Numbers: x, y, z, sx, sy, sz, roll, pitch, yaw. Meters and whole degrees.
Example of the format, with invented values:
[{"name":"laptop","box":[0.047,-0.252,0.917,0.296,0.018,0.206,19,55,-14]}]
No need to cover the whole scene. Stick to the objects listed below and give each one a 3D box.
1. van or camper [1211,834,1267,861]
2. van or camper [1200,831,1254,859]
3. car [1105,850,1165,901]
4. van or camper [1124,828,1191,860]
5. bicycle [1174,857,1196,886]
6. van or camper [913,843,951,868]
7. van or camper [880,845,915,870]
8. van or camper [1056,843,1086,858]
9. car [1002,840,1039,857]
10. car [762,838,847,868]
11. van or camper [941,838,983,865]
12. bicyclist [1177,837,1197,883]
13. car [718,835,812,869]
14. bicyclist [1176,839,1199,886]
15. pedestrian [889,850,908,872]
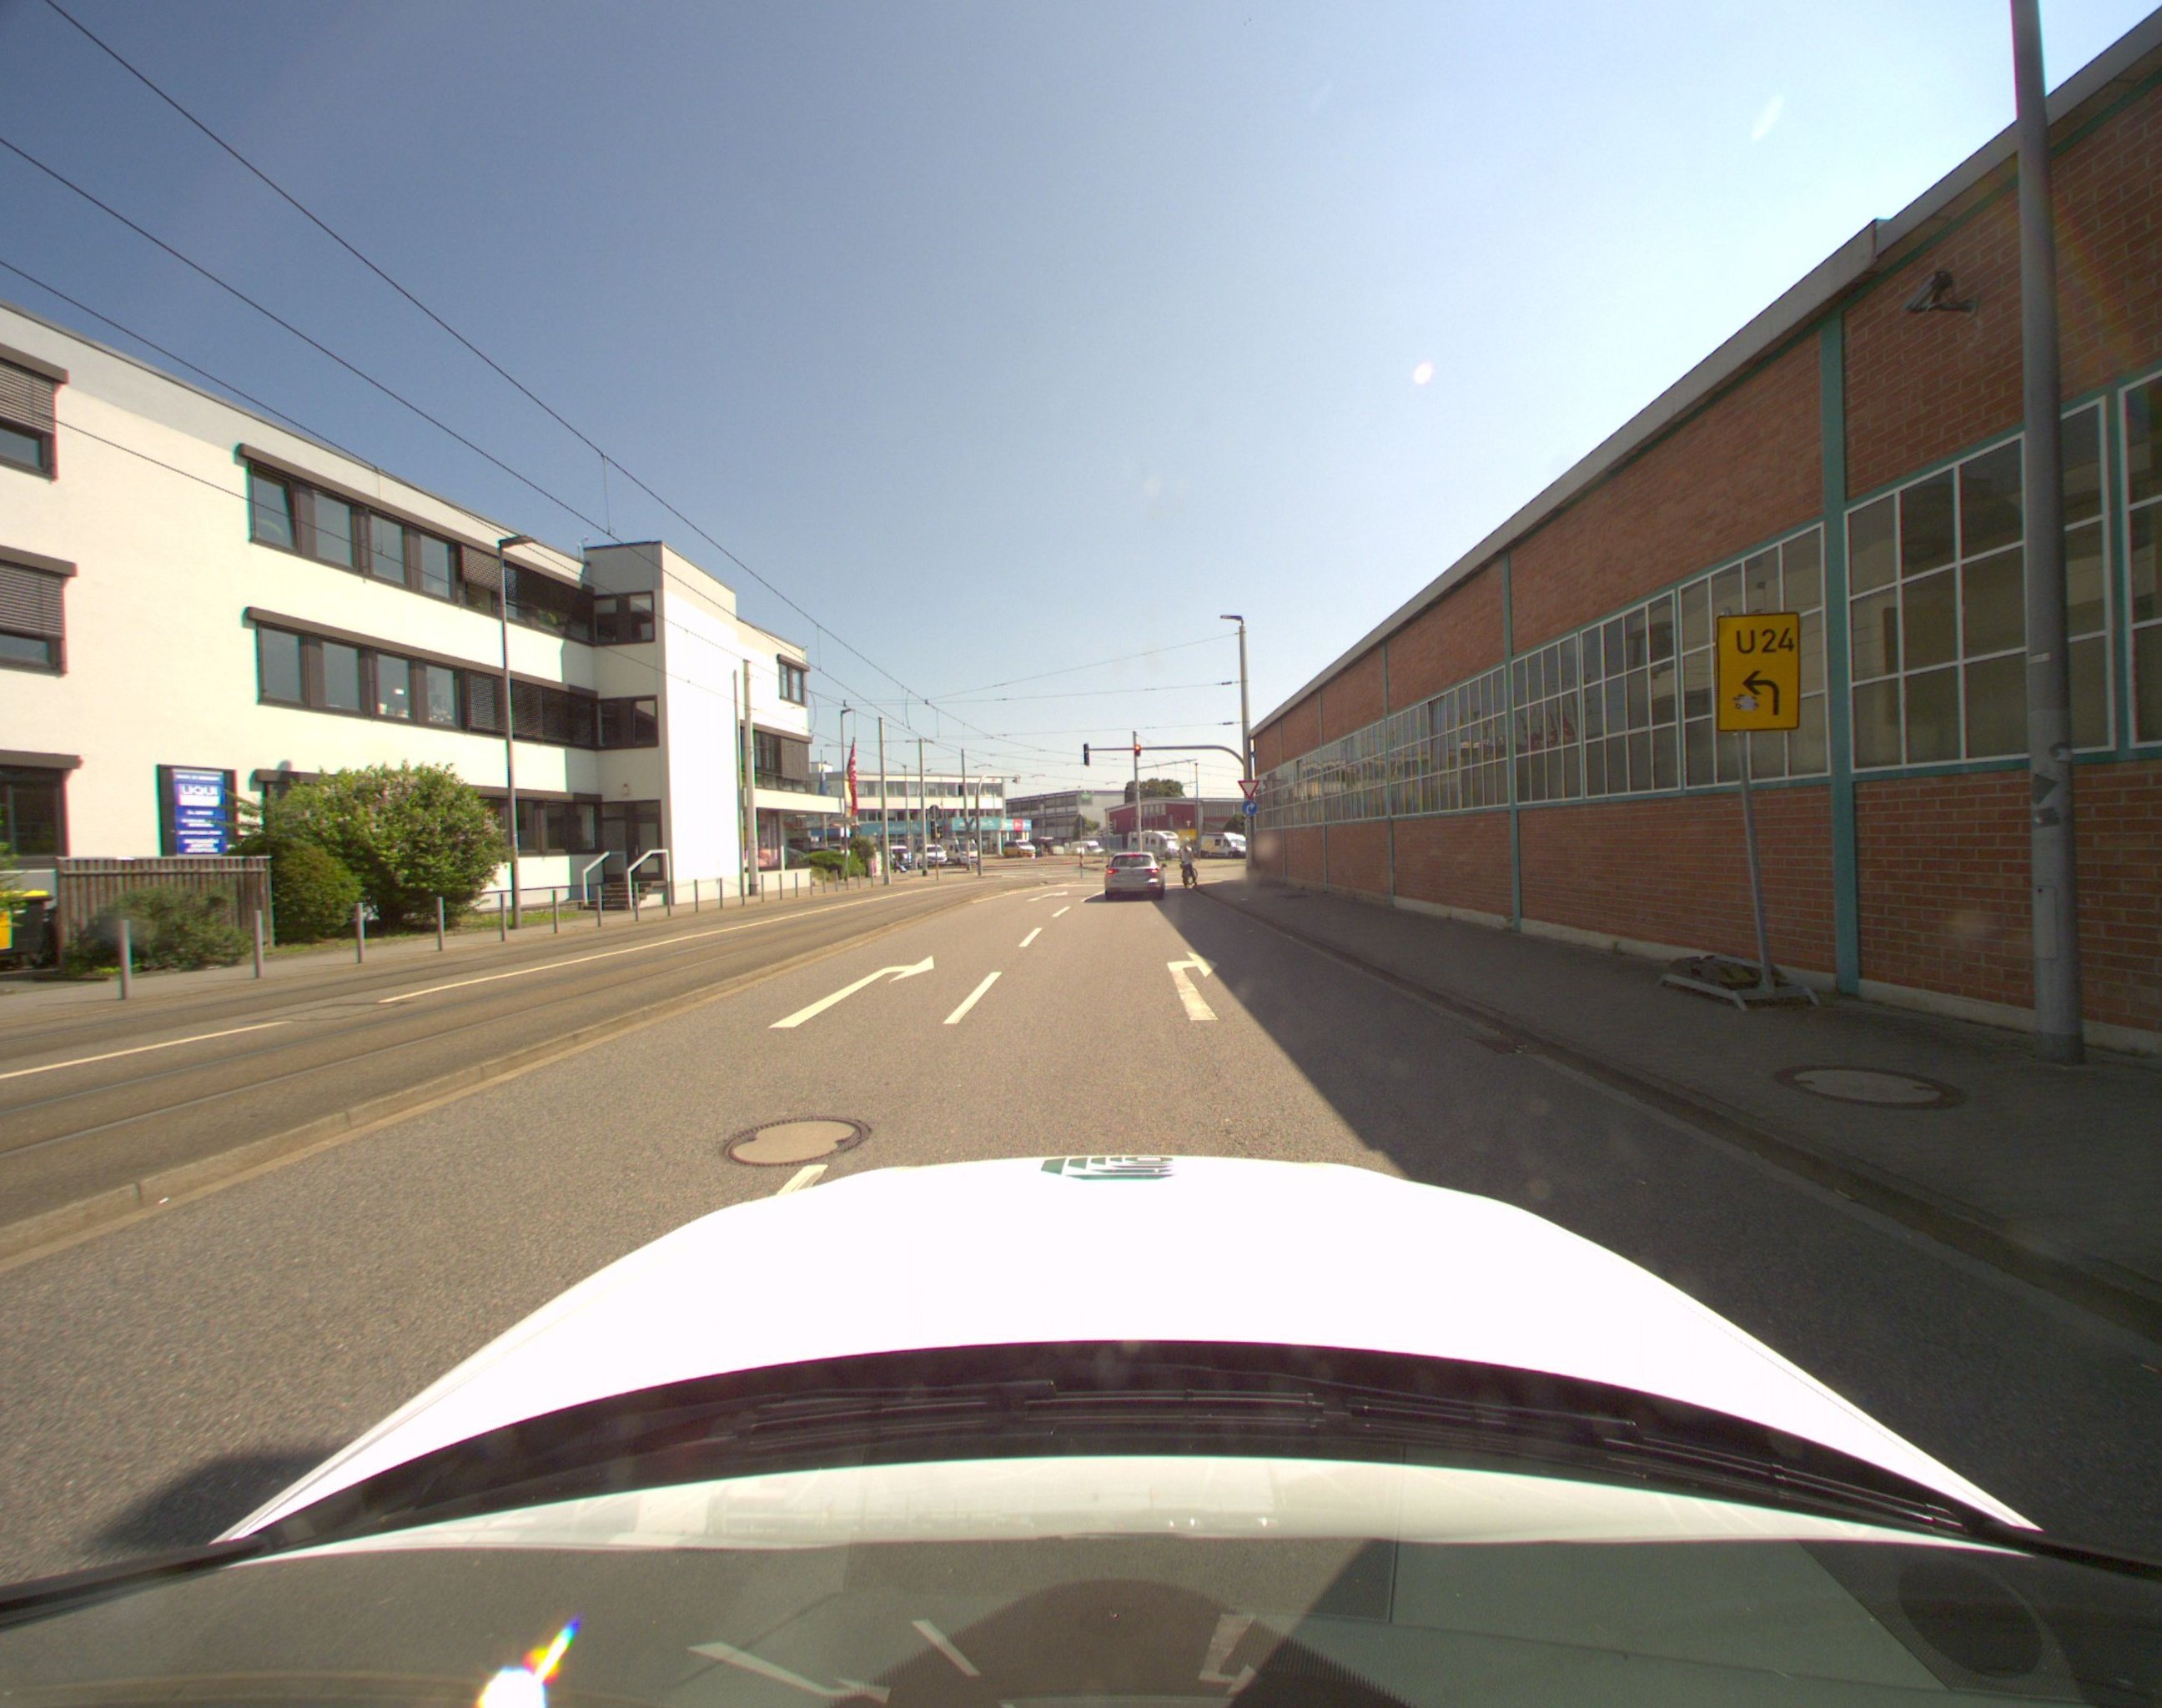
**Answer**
[{"name":"van or camper","box":[16.573,-0.721,85.627,2.299,2.611,5.831,-3,3,-34]},{"name":"van or camper","box":[14.605,-0.951,81.845,2.299,2.439,5.331,-3,4,-34]},{"name":"car","box":[1.784,0.645,26.258,1.738,1.459,4.006,-2,0,5]},{"name":"van or camper","box":[7.578,-1.042,81.220,2.366,2.930,6.905,-4,3,-40]},{"name":"bicycle","box":[3.928,0.639,30.937,0.790,1.021,2.154,-1,0,6]},{"name":"van or camper","box":[-13.781,0.114,74.945,2.005,2.013,4.966,-3,3,-27]},{"name":"van or camper","box":[-16.863,0.269,74.676,2.005,2.013,4.720,-3,3,-27]},{"name":"van or camper","box":[-1.470,-0.491,115.641,2.012,1.947,3.951,-2,0,-44]},{"name":"car","box":[-6.699,-0.617,89.946,1.951,1.759,5.072,-2,0,-31]},{"name":"car","box":[-15.463,-0.056,45.690,3.968,1.518,2.003,-1,2,5]},{"name":"van or camper","box":[-11.206,-0.318,76.317,2.043,2.295,5.761,-3,3,-27]},{"name":"bicyclist","box":[4.253,0.241,32.769,0.704,1.810,0.984,-1,0,5]},{"name":"car","box":[-16.107,-0.104,41.658,3.968,1.563,2.003,-1,0,5]},{"name":"bicyclist","box":[4.001,0.308,30.626,0.782,1.721,1.149,-1,0,6]},{"name":"pedestrian","box":[-12.338,0.472,55.154,1.129,1.454,0.835,-2,0,-7]}]
